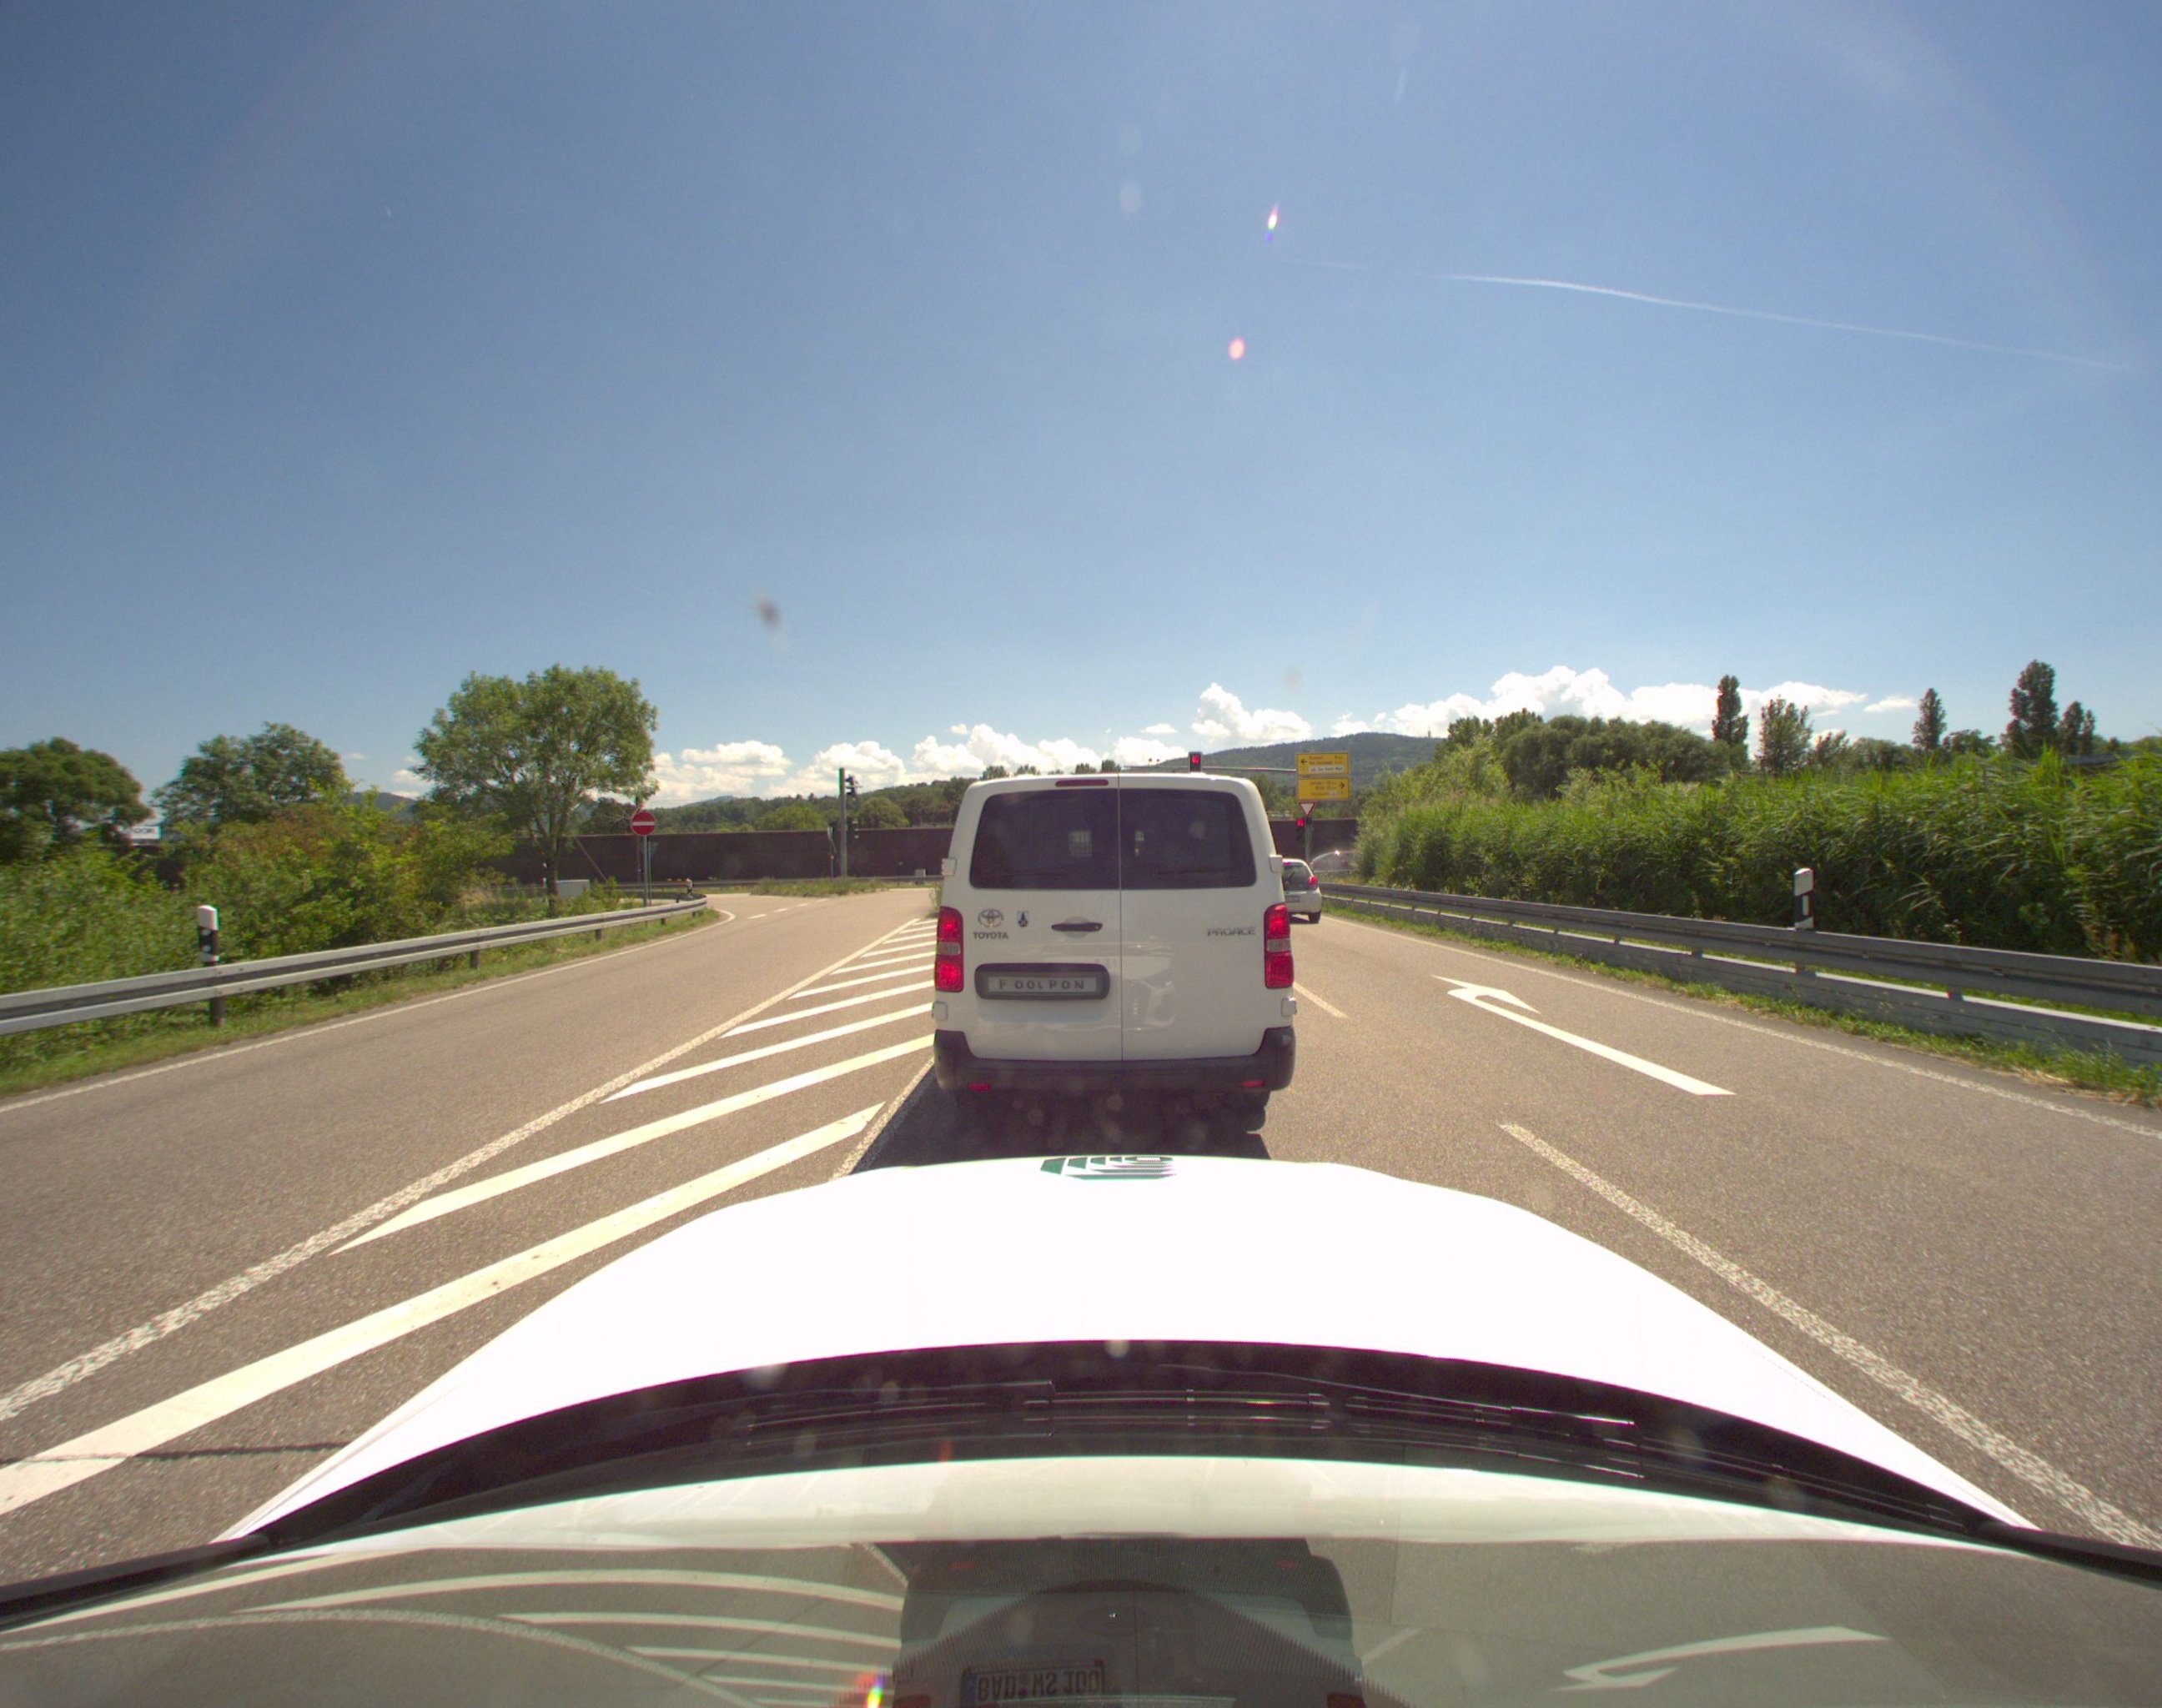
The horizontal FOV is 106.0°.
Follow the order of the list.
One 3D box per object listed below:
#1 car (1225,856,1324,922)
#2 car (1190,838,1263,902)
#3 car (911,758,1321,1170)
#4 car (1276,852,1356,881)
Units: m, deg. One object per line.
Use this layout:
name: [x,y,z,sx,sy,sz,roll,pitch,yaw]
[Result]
car: [4.561,0.781,19.628,1.650,1.431,3.366,-1,0,1]
car: [4.927,0.531,28.218,1.920,2.000,4.842,-1,0,3]
car: [0.204,0.522,5.769,1.880,1.886,4.001,-1,0,1]
car: [14.269,0.742,49.627,4.298,1.656,1.999,-1,-1,-2]
